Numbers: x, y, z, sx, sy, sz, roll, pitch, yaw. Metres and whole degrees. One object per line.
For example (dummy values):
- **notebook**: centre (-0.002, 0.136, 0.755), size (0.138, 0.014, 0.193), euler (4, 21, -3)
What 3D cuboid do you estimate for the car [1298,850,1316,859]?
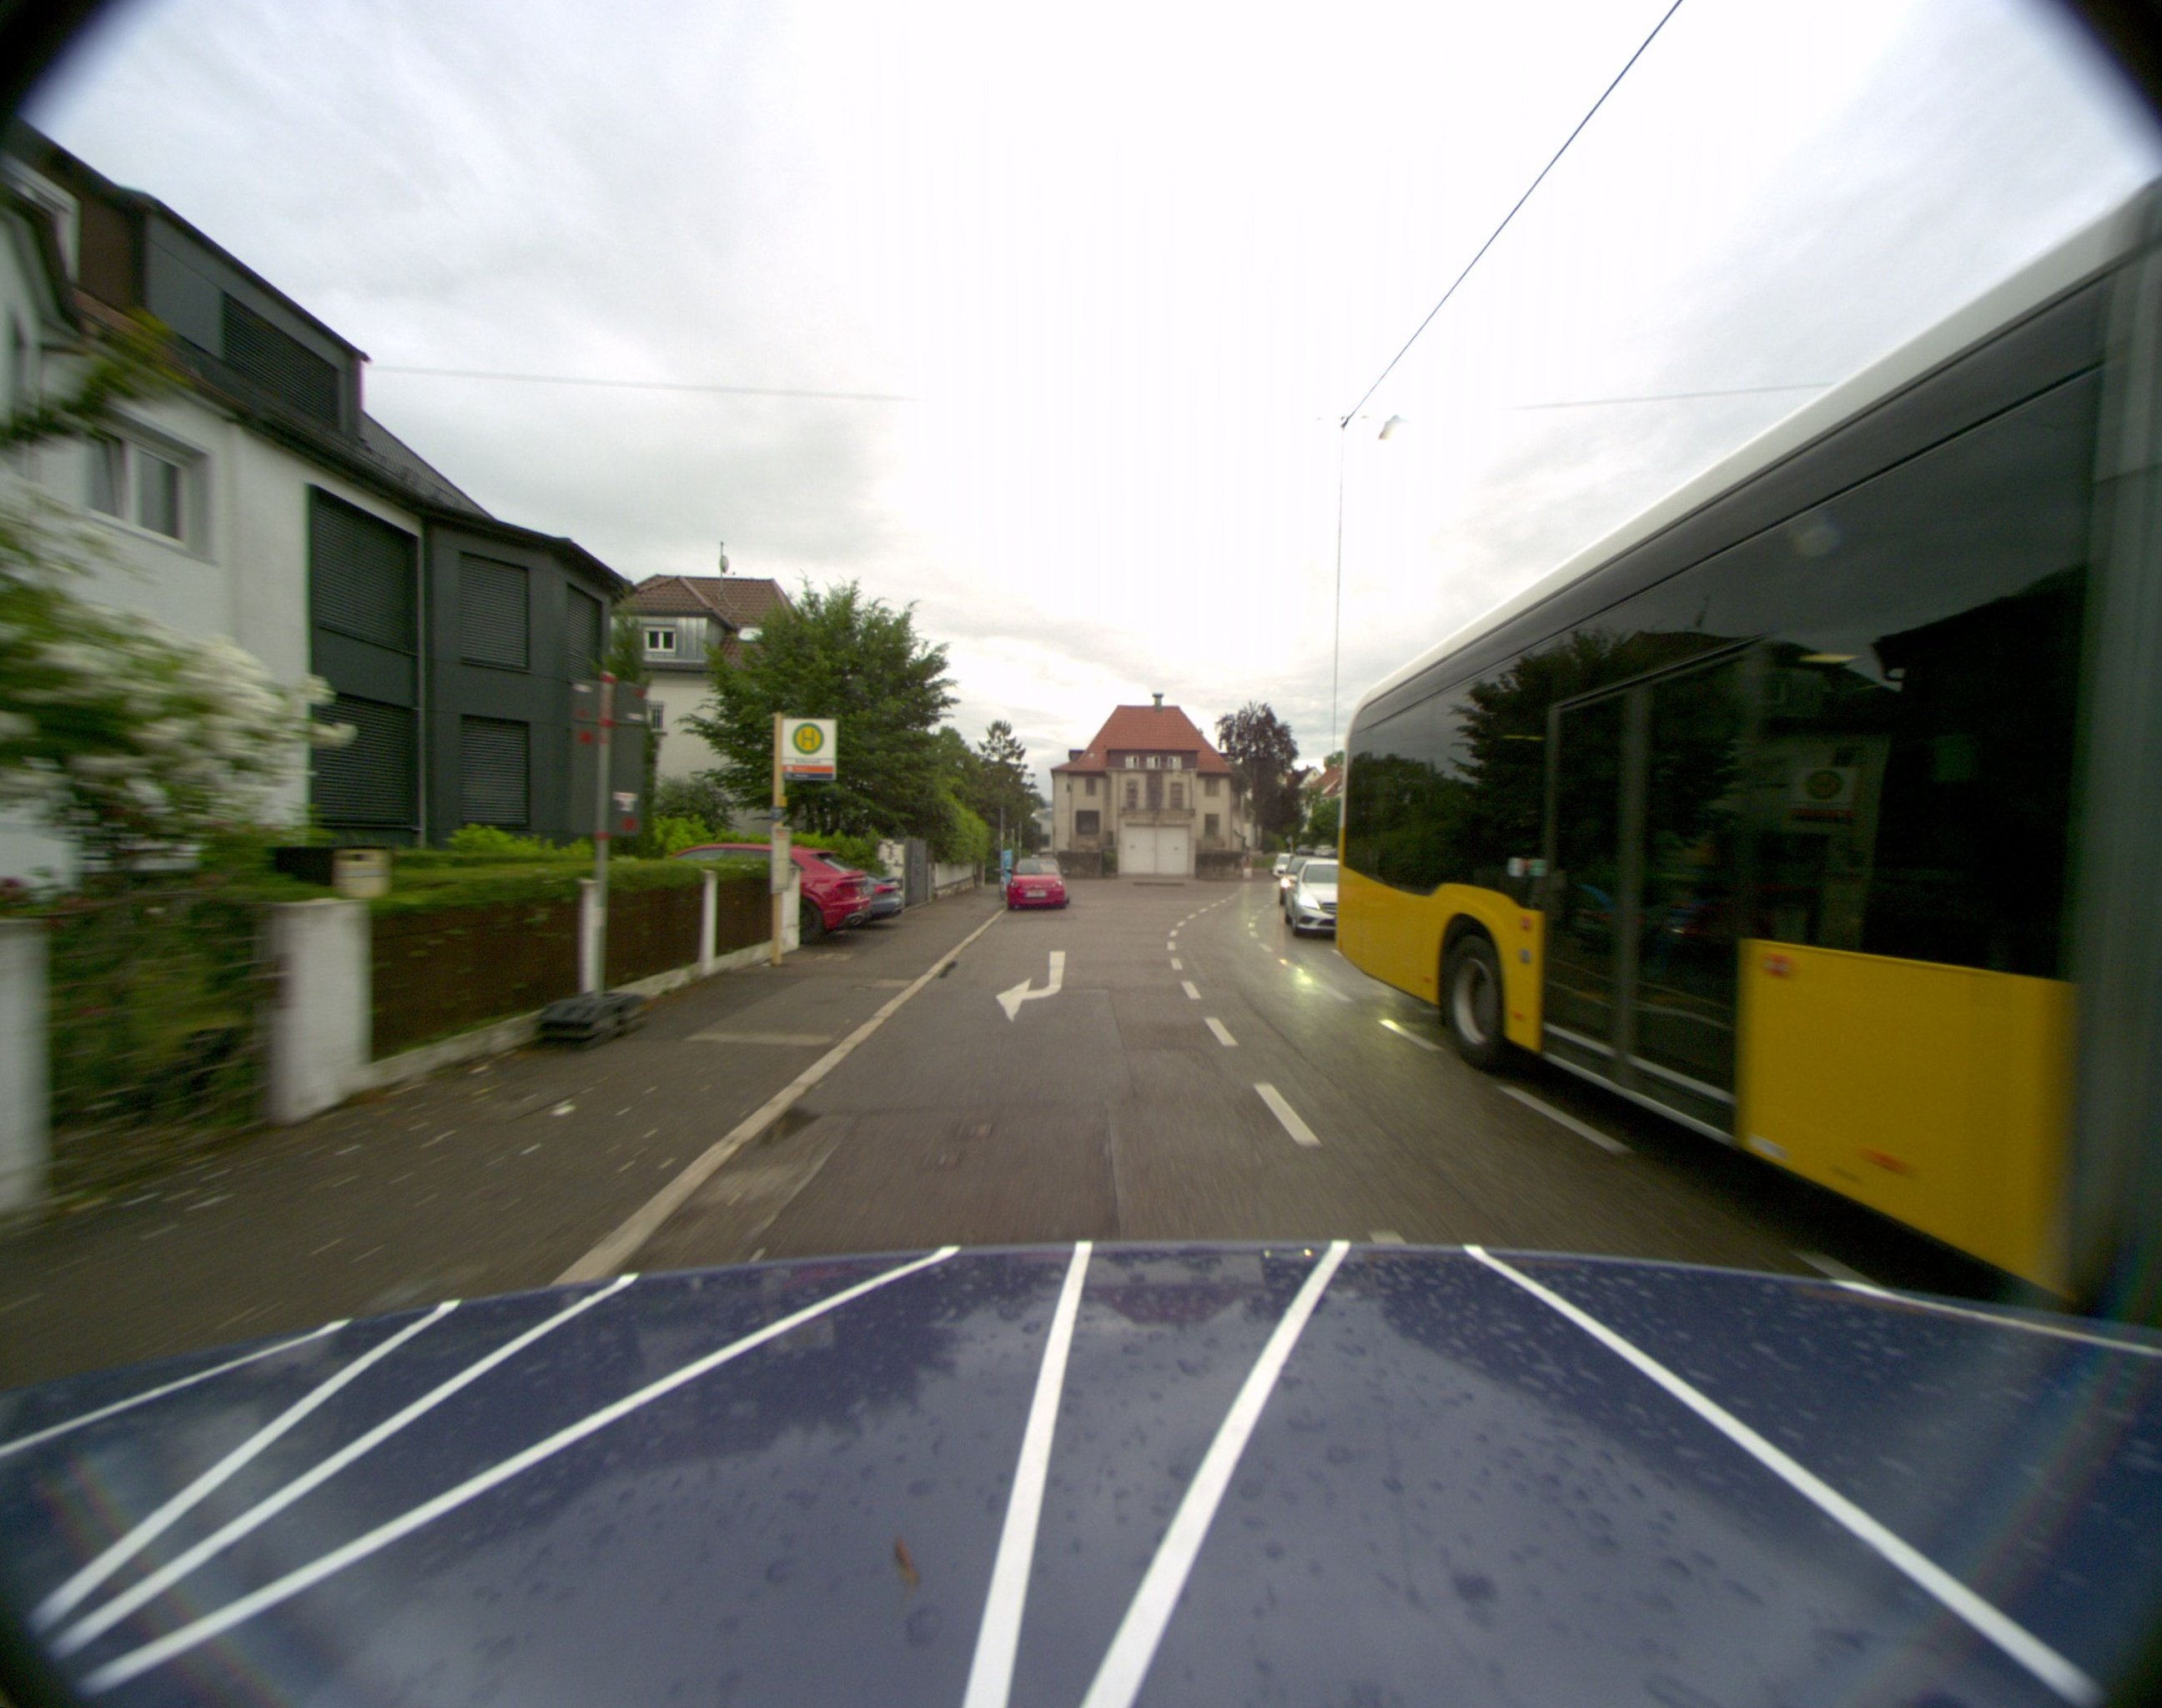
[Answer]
- **car**: centre (36.062, 0.019, 121.287), size (1.679, 1.364, 4.437), euler (0, 1, 2)

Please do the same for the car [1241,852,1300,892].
- **car**: centre (8.663, 0.765, 34.523), size (1.792, 1.689, 3.898), euler (0, 1, 27)

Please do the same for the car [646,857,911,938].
- **car**: centre (-5.915, 0.842, 15.407), size (4.561, 1.408, 1.999), euler (2, 0, -6)

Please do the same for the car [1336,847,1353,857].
- **car**: centre (35.470, -0.315, 102.491), size (1.678, 1.364, 3.443), euler (0, 1, 10)

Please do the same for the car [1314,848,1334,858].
- **car**: centre (35.567, -0.128, 111.232), size (1.679, 1.364, 4.437), euler (3, 1, 2)

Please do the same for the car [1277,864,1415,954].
- **car**: centre (5.146, 0.971, 15.360), size (1.996, 1.470, 4.490), euler (1, 0, 11)

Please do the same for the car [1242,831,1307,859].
- **car**: centre (15.305, -0.721, 60.166), size (4.734, 1.799, 1.945), euler (4, 2, 18)

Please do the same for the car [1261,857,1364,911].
- **car**: centre (7.262, 0.864, 23.652), size (1.894, 1.455, 3.689), euler (1, 1, 37)

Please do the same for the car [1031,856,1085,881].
- **car**: centre (-1.447, 0.902, 46.954), size (3.267, 1.431, 1.323), euler (0, -4, -6)

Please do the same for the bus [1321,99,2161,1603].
- **bus**: centre (3.873, -0.003, 4.088), size (2.683, 3.378, 8.682), euler (1, 0, 2)

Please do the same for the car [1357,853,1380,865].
- **car**: centre (33.145, 0.530, 87.719), size (1.678, 1.364, 3.442), euler (0, 1, 6)

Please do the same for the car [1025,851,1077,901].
- **car**: centre (-1.041, 0.755, 28.091), size (1.749, 1.663, 4.647), euler (0, 0, -1)

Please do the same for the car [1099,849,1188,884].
- **car**: centre (3.708, 0.705, 45.142), size (4.911, 1.937, 1.943), euler (1, 1, 20)

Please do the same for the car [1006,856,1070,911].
- **car**: centre (-1.217, 0.831, 22.863), size (1.615, 1.528, 3.541), euler (0, 0, 2)

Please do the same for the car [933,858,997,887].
- **car**: centre (-7.661, 1.239, 50.511), size (3.997, 1.849, 1.771), euler (0, 1, -1)

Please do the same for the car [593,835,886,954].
- **car**: centre (-5.602, 0.657, 12.977), size (4.085, 1.740, 1.999), euler (2, 0, -6)
